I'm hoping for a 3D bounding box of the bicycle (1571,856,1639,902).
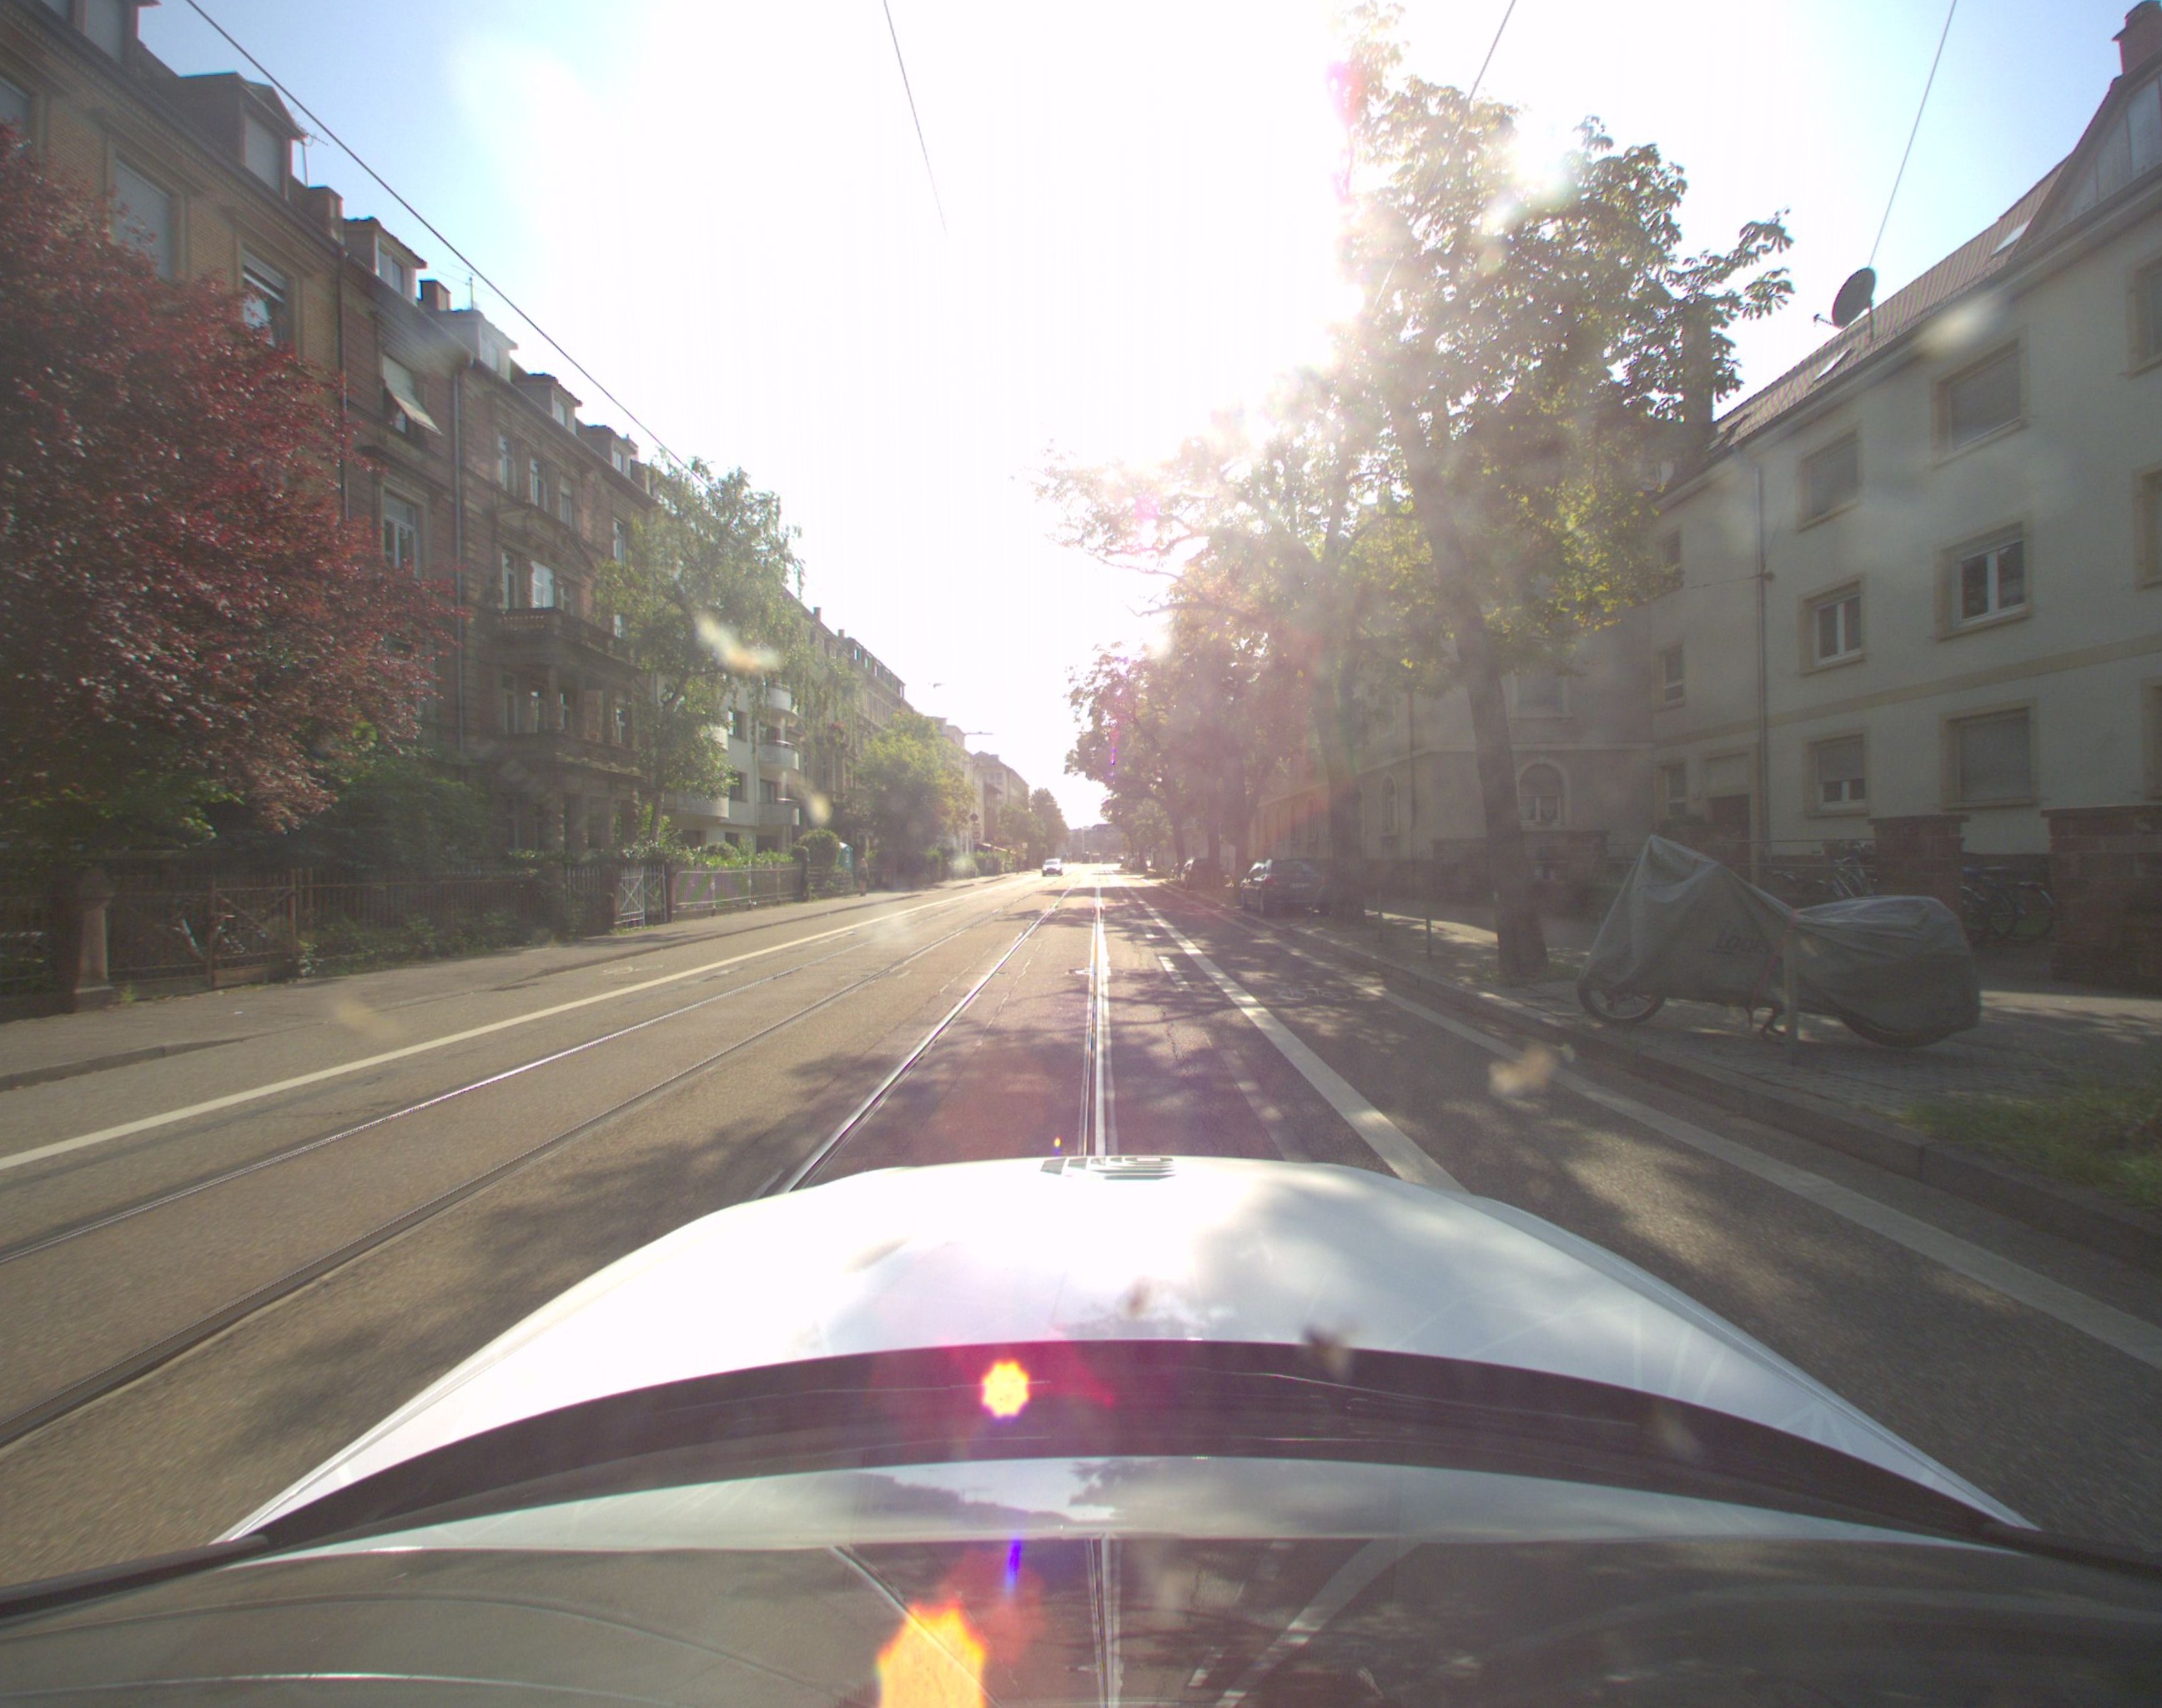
[{"bbox_3d":[13.125,0.602,20.449,0.536,1.104,1.874,-1,0,2],"label":"bicycle"}]

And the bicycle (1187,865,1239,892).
[{"bbox_3d":[5.702,1.066,35.232,2.104,1.105,0.562,-1,-1,-7],"label":"bicycle"}]

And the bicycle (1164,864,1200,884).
[{"bbox_3d":[6.116,1.179,49.365,2.100,1.105,0.616,-3,-1,-1],"label":"bicycle"}]

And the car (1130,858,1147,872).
[{"bbox_3d":[6.749,1.322,96.238,1.765,1.473,3.975,-2,-1,1],"label":"car"}]

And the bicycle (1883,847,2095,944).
[{"bbox_3d":[11.404,0.479,10.343,0.423,1.104,1.999,-1,0,-1],"label":"bicycle"}]

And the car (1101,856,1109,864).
[{"bbox_3d":[6.369,1.637,215.099,1.984,2.014,4.005,1,0,4],"label":"car"}]

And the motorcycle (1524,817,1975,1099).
[{"bbox_3d":[4.780,0.651,6.039,0.919,1.674,2.390,-3,0,-45],"label":"motorcycle"}]

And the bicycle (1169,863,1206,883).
[{"bbox_3d":[6.331,1.121,48.472,2.100,1.105,0.616,-3,-1,-1],"label":"bicycle"}]

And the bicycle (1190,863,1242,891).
[{"bbox_3d":[5.745,0.975,34.708,2.104,1.105,0.562,-1,-1,-7],"label":"bicycle"}]

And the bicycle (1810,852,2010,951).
[{"bbox_3d":[10.264,0.536,10.201,0.423,1.104,1.999,-1,0,-1],"label":"bicycle"}]

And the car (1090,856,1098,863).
[{"bbox_3d":[3.632,1.572,233.407,1.985,2.014,4.004,1,0,4],"label":"car"}]

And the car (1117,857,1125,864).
[{"bbox_3d":[10.912,1.842,222.241,1.984,1.783,4.006,1,0,6],"label":"car"}]

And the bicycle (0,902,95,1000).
[{"bbox_3d":[-12.999,1.166,9.567,0.581,1.104,1.770,-2,-1,43],"label":"bicycle"}]

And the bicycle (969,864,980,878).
[{"bbox_3d":[-9.187,1.456,70.115,0.559,1.221,2.115,-1,0,3],"label":"bicycle"}]

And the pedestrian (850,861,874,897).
[{"bbox_3d":[-9.701,1.099,36.078,0.749,1.591,0.878,-1,-1,2],"label":"pedestrian"}]

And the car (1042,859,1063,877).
[{"bbox_3d":[-2.610,1.314,76.298,1.720,1.638,3.985,-1,0,1],"label":"car"}]

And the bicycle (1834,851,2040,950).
[{"bbox_3d":[10.564,0.524,10.172,0.423,1.104,1.999,-1,0,-1],"label":"bicycle"}]

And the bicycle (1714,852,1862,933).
[{"bbox_3d":[10.470,0.526,12.157,0.536,1.104,1.872,-1,0,-1],"label":"bicycle"}]

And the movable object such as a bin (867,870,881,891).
[{"bbox_3d":[-11.029,1.401,43.390,0.589,1.078,0.703,-1,-1,-5],"label":"movable object such as a bin"}]

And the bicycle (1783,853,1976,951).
[{"bbox_3d":[9.908,0.547,10.226,0.422,1.104,1.999,-1,0,-1],"label":"bicycle"}]

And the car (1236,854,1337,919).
[{"bbox_3d":[5.385,0.803,21.866,1.720,1.504,3.985,-3,-1,1],"label":"car"}]

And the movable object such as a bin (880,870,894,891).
[{"bbox_3d":[-10.360,1.406,43.456,0.630,1.078,0.703,-1,-1,-5],"label":"movable object such as a bin"}]

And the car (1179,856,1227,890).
[{"bbox_3d":[5.774,0.897,38.890,1.765,1.473,3.975,-2,-1,1],"label":"car"}]

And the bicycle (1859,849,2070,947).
[{"bbox_3d":[10.976,0.499,10.234,0.423,1.104,1.999,-1,0,-1],"label":"bicycle"}]

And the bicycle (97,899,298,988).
[{"bbox_3d":[-11.947,1.194,11.053,2.010,1.104,0.588,-1,-1,-2],"label":"bicycle"}]
